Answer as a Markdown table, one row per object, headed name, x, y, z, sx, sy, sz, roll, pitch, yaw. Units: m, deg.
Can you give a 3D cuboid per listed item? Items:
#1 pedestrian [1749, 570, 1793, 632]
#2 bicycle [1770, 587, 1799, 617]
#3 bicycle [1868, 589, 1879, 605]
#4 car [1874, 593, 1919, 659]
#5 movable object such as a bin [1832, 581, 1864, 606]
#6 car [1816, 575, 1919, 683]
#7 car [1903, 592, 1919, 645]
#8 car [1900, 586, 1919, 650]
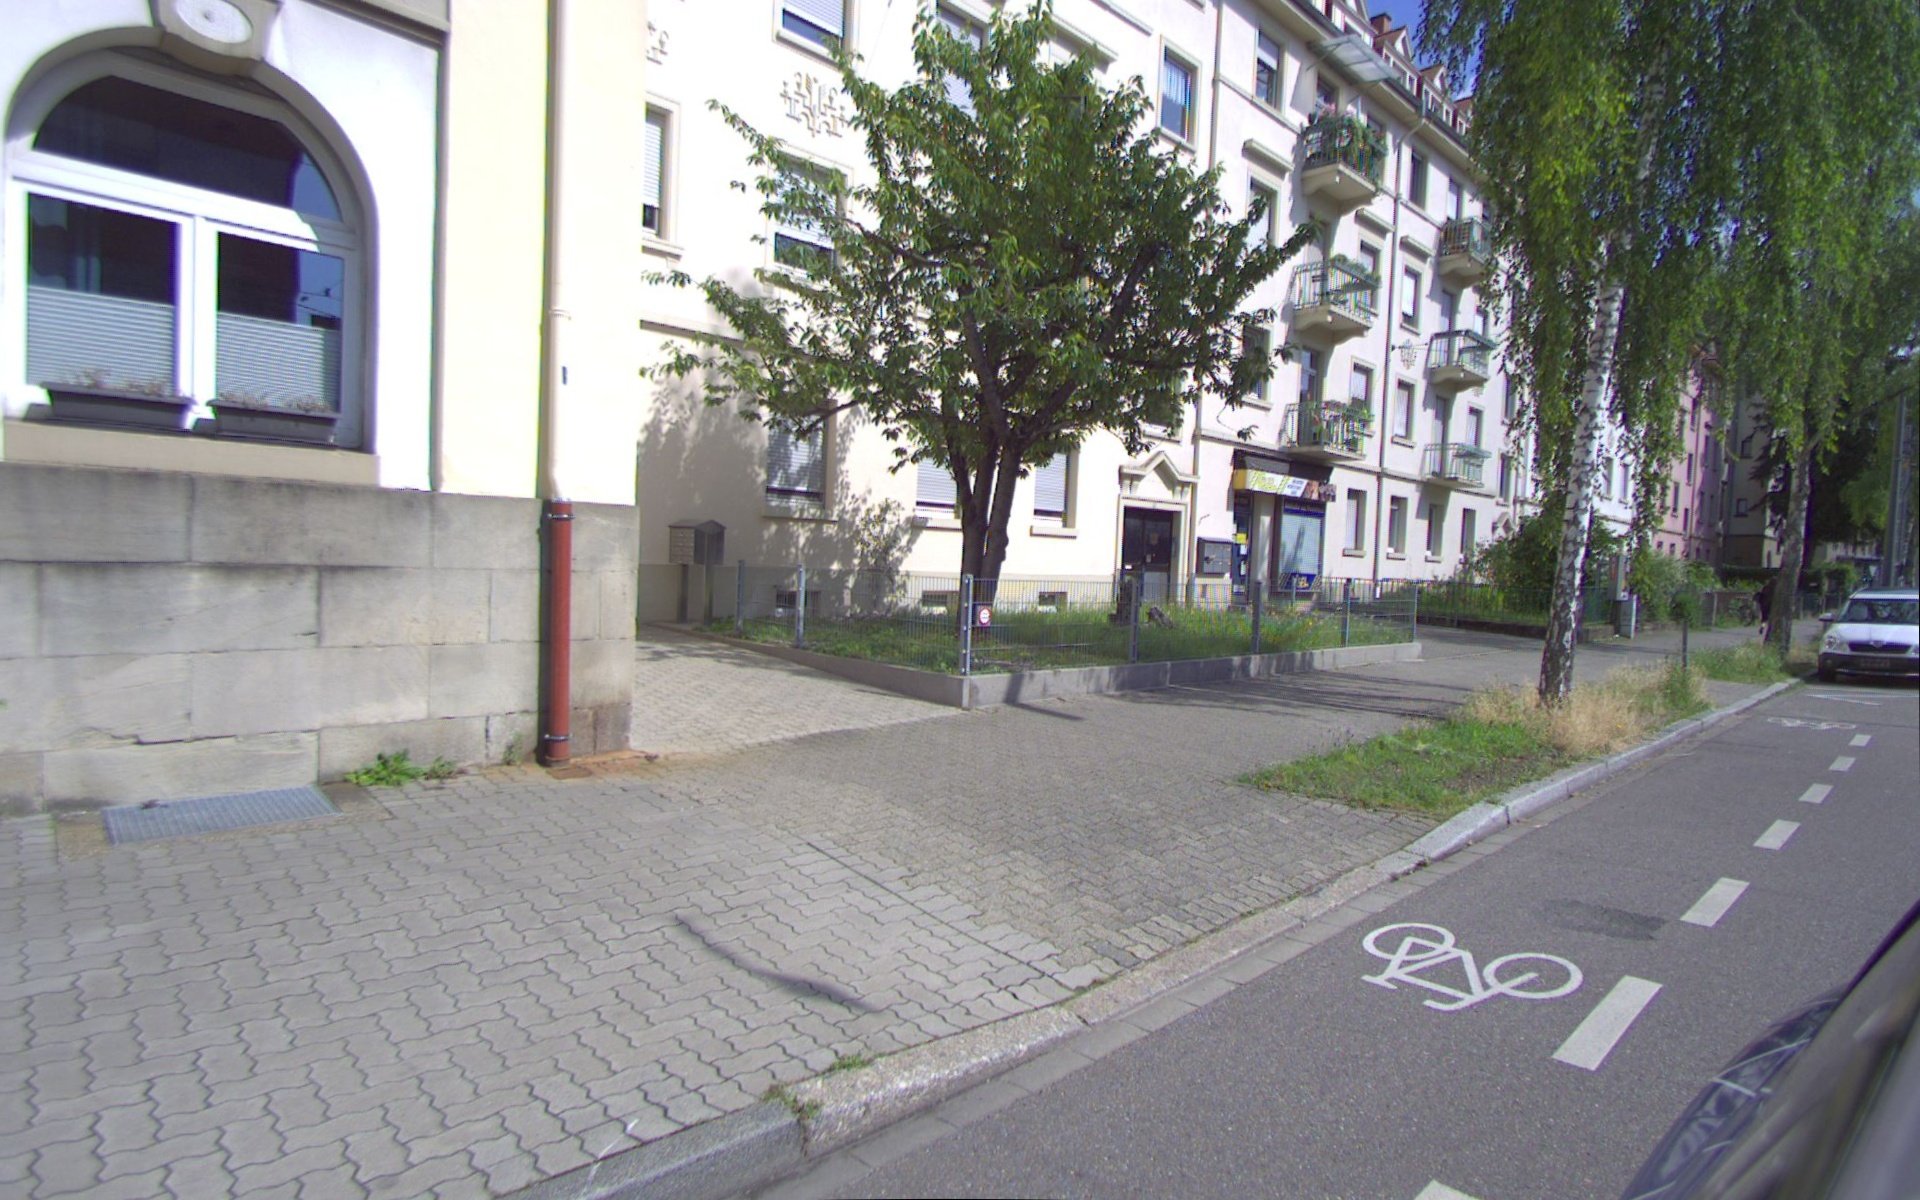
| name | x | y | z | sx | sy | sz | roll | pitch | yaw |
| --- | --- | --- | --- | --- | --- | --- | --- | --- | --- |
| pedestrian | 23.329 | 0.027 | 29.107 | 0.678 | 1.703 | 0.732 | 1 | 5 | -40 |
| bicycle | 31.523 | 0.064 | 38.690 | 2.145 | 1.090 | 0.472 | 0 | 4 | -42 |
| bicycle | 59.634 | -0.208 | 66.062 | 1.457 | 1.034 | 0.350 | 0 | 6 | -45 |
| car | 22.332 | 0.558 | 23.301 | 3.733 | 1.434 | 1.674 | 0 | 1 | -44 |
| movable object such as a bin | 58.164 | -0.447 | 66.306 | 1.966 | 1.510 | 1.304 | 0 | 4 | -43 |
| car | 16.031 | 0.438 | 17.157 | 3.930 | 1.650 | 1.724 | 0 | 1 | -41 |
| car | 28.719 | 0.516 | 29.490 | 3.780 | 1.471 | 1.590 | 0 | 0 | -44 |
| car | 25.528 | 0.462 | 26.273 | 1.494 | 1.599 | 3.698 | 2 | 1 | 45 |
